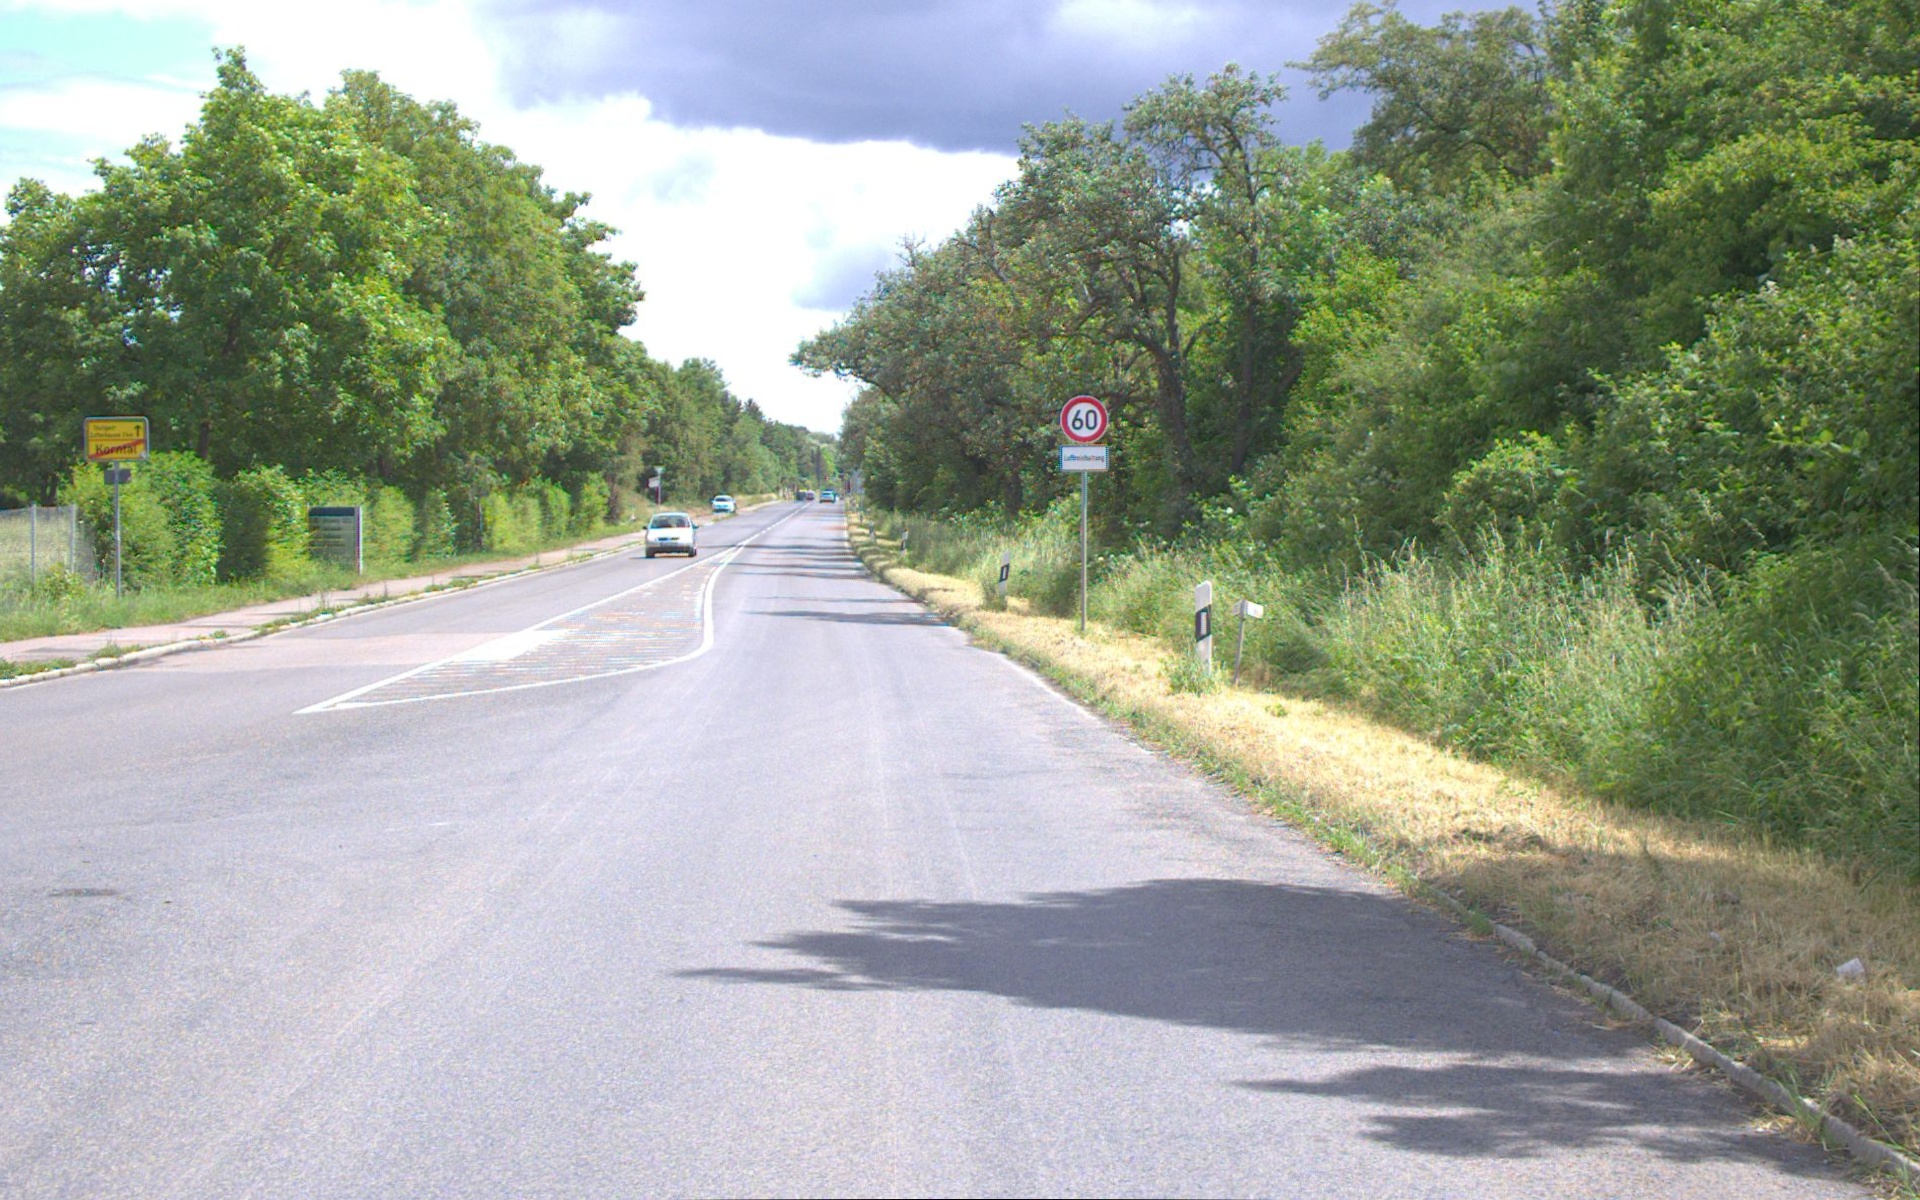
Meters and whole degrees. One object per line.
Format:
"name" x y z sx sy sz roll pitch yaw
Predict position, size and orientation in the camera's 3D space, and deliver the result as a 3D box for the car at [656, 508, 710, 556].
"car" -8.989 -2.225 111.834 1.660 1.427 3.693 -1 2 -4
